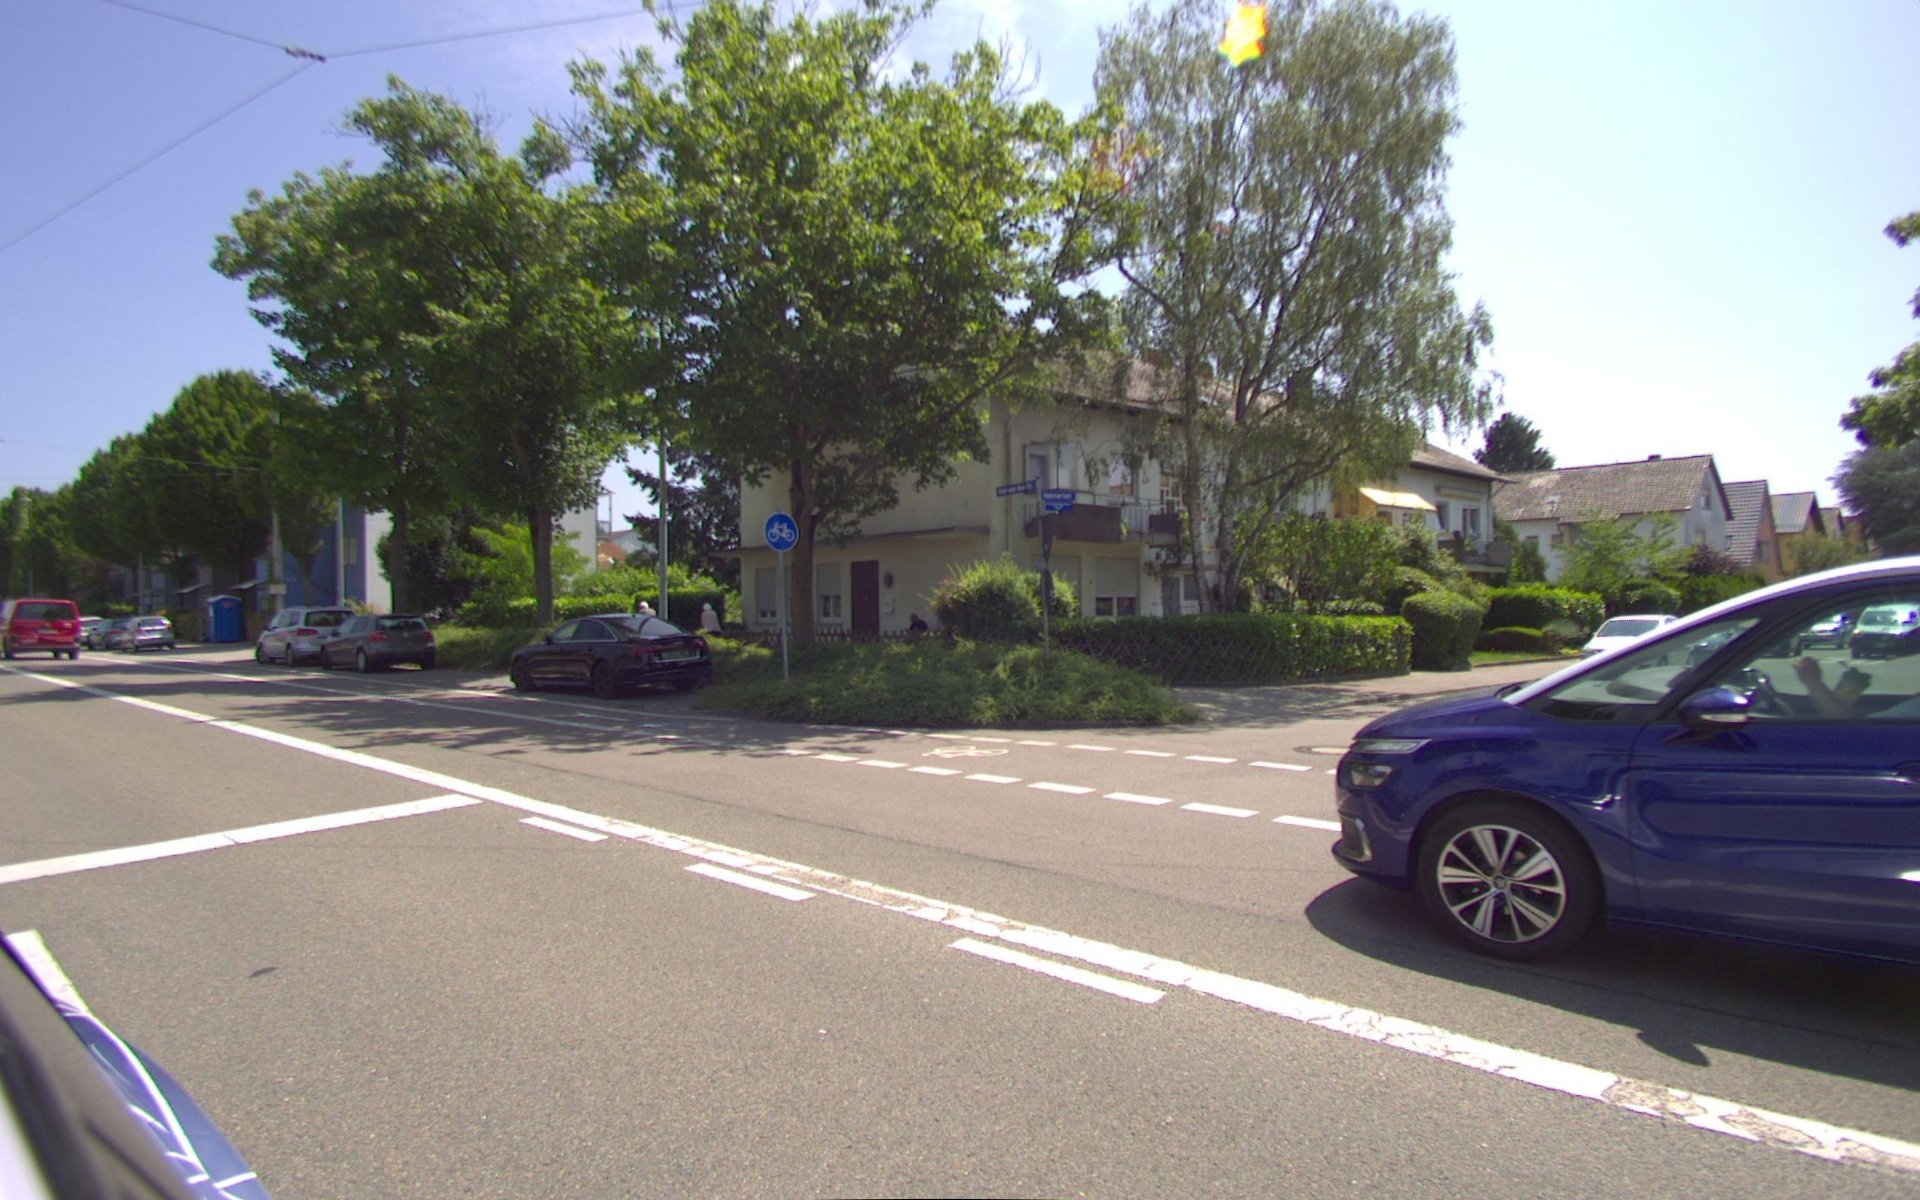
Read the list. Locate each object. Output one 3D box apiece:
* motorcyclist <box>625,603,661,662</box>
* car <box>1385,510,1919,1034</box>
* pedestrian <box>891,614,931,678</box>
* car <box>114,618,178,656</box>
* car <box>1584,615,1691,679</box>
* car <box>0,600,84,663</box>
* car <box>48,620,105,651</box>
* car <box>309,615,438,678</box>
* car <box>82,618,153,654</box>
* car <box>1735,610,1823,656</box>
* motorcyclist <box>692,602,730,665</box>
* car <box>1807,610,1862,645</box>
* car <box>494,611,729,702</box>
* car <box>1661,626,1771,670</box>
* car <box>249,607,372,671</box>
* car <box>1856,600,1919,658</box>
[{"bbox_3d":[-8.495,0.867,27.112,0.725,1.514,0.580,-1,2,42],"label":"motorcyclist"},{"bbox_3d":[3.907,0.558,3.640,4.064,1.669,1.719,-1,-2,41],"label":"car"},{"bbox_3d":[-1.193,1.115,24.697,0.784,1.522,0.609,1,-1,-43],"label":"pedestrian"},{"bbox_3d":[-35.945,1.600,44.659,3.279,1.507,1.487,-1,3,39],"label":"car"},{"bbox_3d":[16.389,1.081,24.426,1.546,1.404,3.852,-1,-1,43],"label":"car"},{"bbox_3d":[-30.881,1.043,33.609,4.815,1.941,1.880,-1,-3,39],"label":"car"},{"bbox_3d":[-47.491,1.881,54.382,3.646,1.507,1.636,-1,3,39],"label":"car"},{"bbox_3d":[-15.559,1.180,26.773,4.125,1.498,1.659,-1,0,41],"label":"car"},{"bbox_3d":[-39.988,1.679,47.994,4.634,1.507,1.660,-1,3,40],"label":"car"},{"bbox_3d":[26.812,1.035,33.105,3.846,1.404,1.548,0,-1,-41],"label":"car"},{"bbox_3d":[-6.176,0.828,25.138,0.662,1.514,0.580,-1,2,42],"label":"motorcyclist"},{"bbox_3d":[34.690,1.064,40.118,1.546,1.339,3.852,-1,-1,43],"label":"car"},{"bbox_3d":[-6.615,0.980,18.969,4.804,1.467,1.876,-1,0,39],"label":"car"},{"bbox_3d":[20.362,1.243,27.223,3.690,1.000,1.548,-1,-1,-40],"label":"car"},{"bbox_3d":[-19.509,1.119,30.313,4.687,1.701,1.950,-1,0,42],"label":"car"},{"bbox_3d":[29.599,0.884,31.760,4.170,1.719,1.743,0,-1,-42],"label":"car"}]
